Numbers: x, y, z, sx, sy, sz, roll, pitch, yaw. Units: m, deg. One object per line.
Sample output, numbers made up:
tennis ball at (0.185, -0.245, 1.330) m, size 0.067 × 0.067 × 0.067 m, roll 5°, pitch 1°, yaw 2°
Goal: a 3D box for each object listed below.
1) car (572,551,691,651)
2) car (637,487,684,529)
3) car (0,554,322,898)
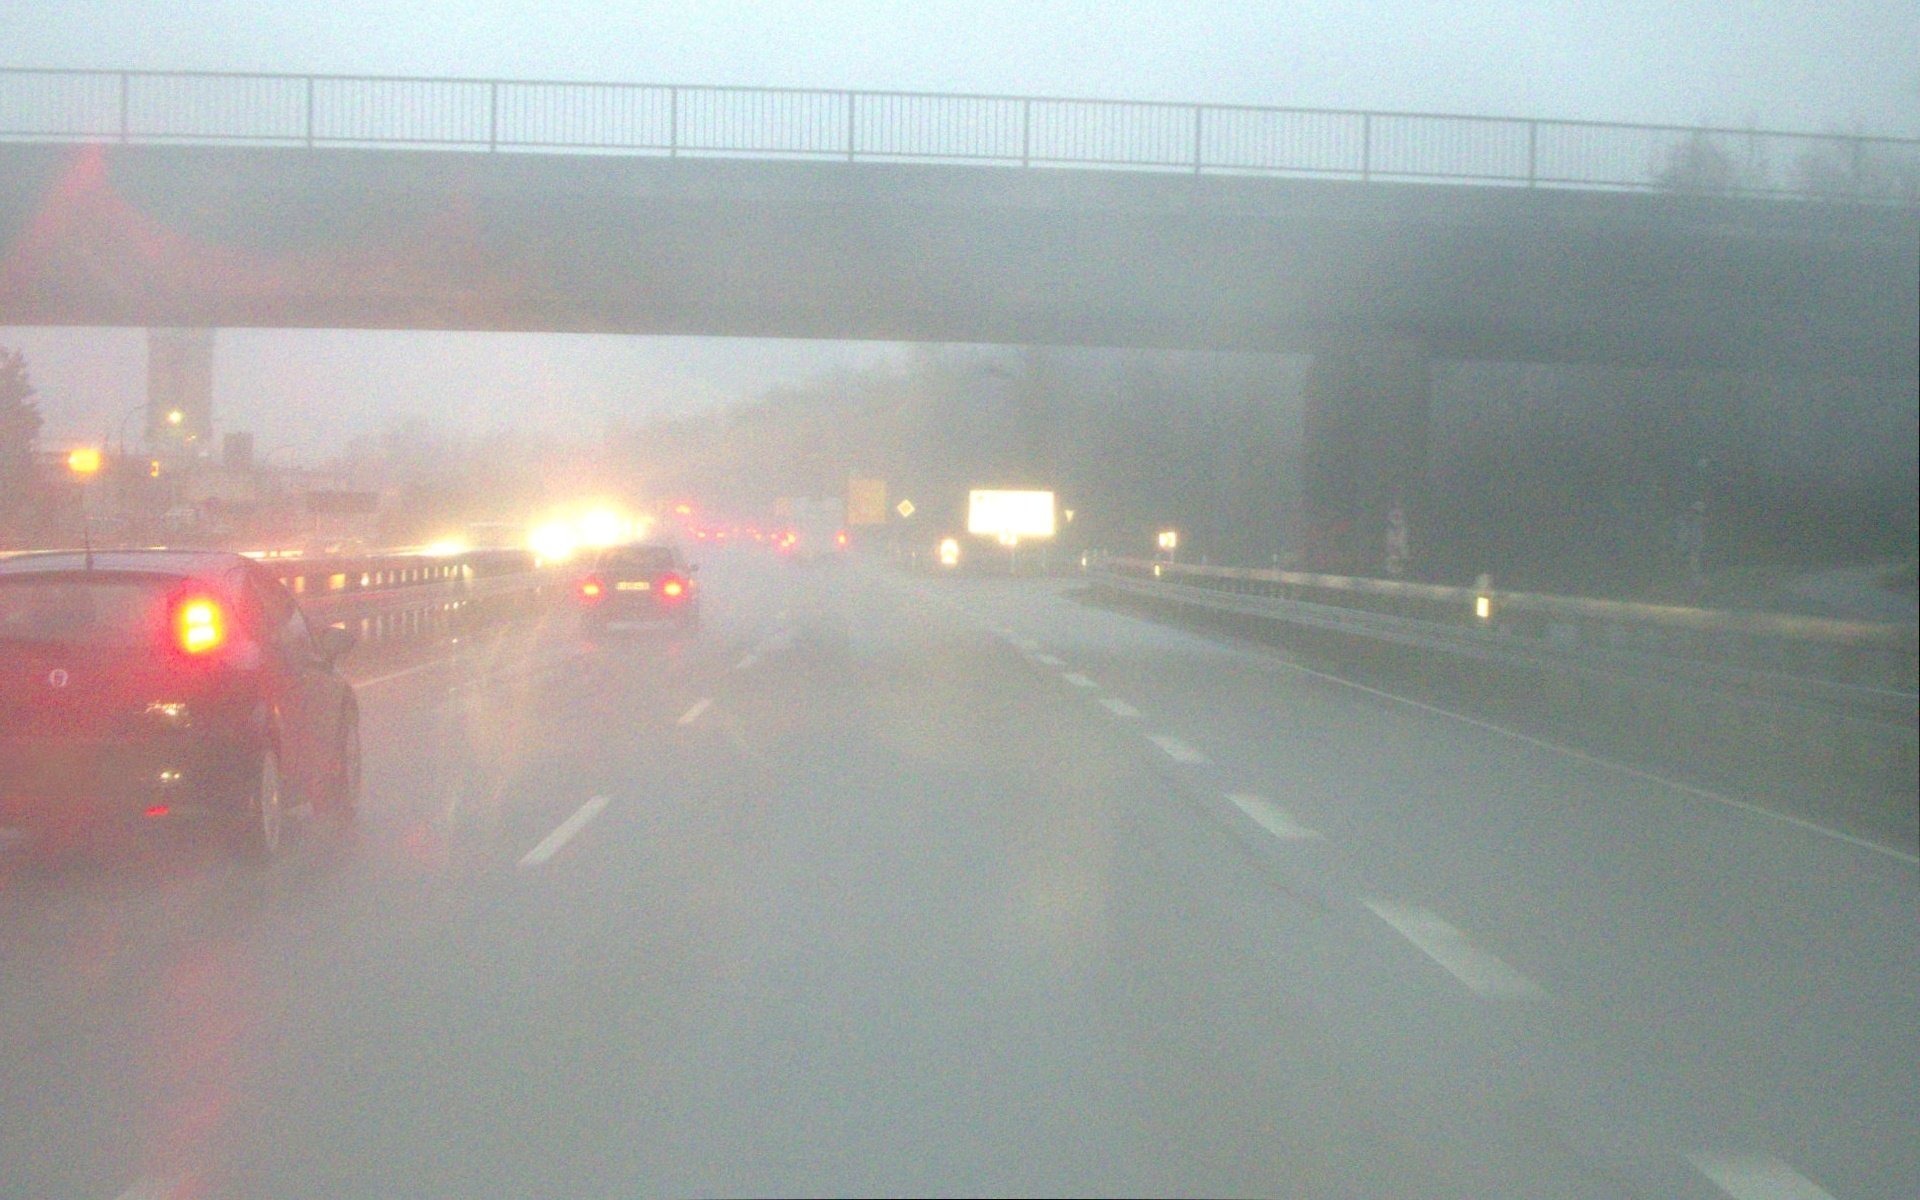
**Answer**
car at (-5.224, -0.011, 55.080) m, size 1.775 × 1.529 × 4.703 m, roll 0°, pitch 1°, yaw -4°
car at (-15.885, -4.875, 182.117) m, size 2.122 × 2.113 × 3.576 m, roll 2°, pitch 1°, yaw -9°
car at (-4.215, 0.544, 17.084) m, size 1.527 × 1.411 × 3.479 m, roll 3°, pitch 2°, yaw -3°
